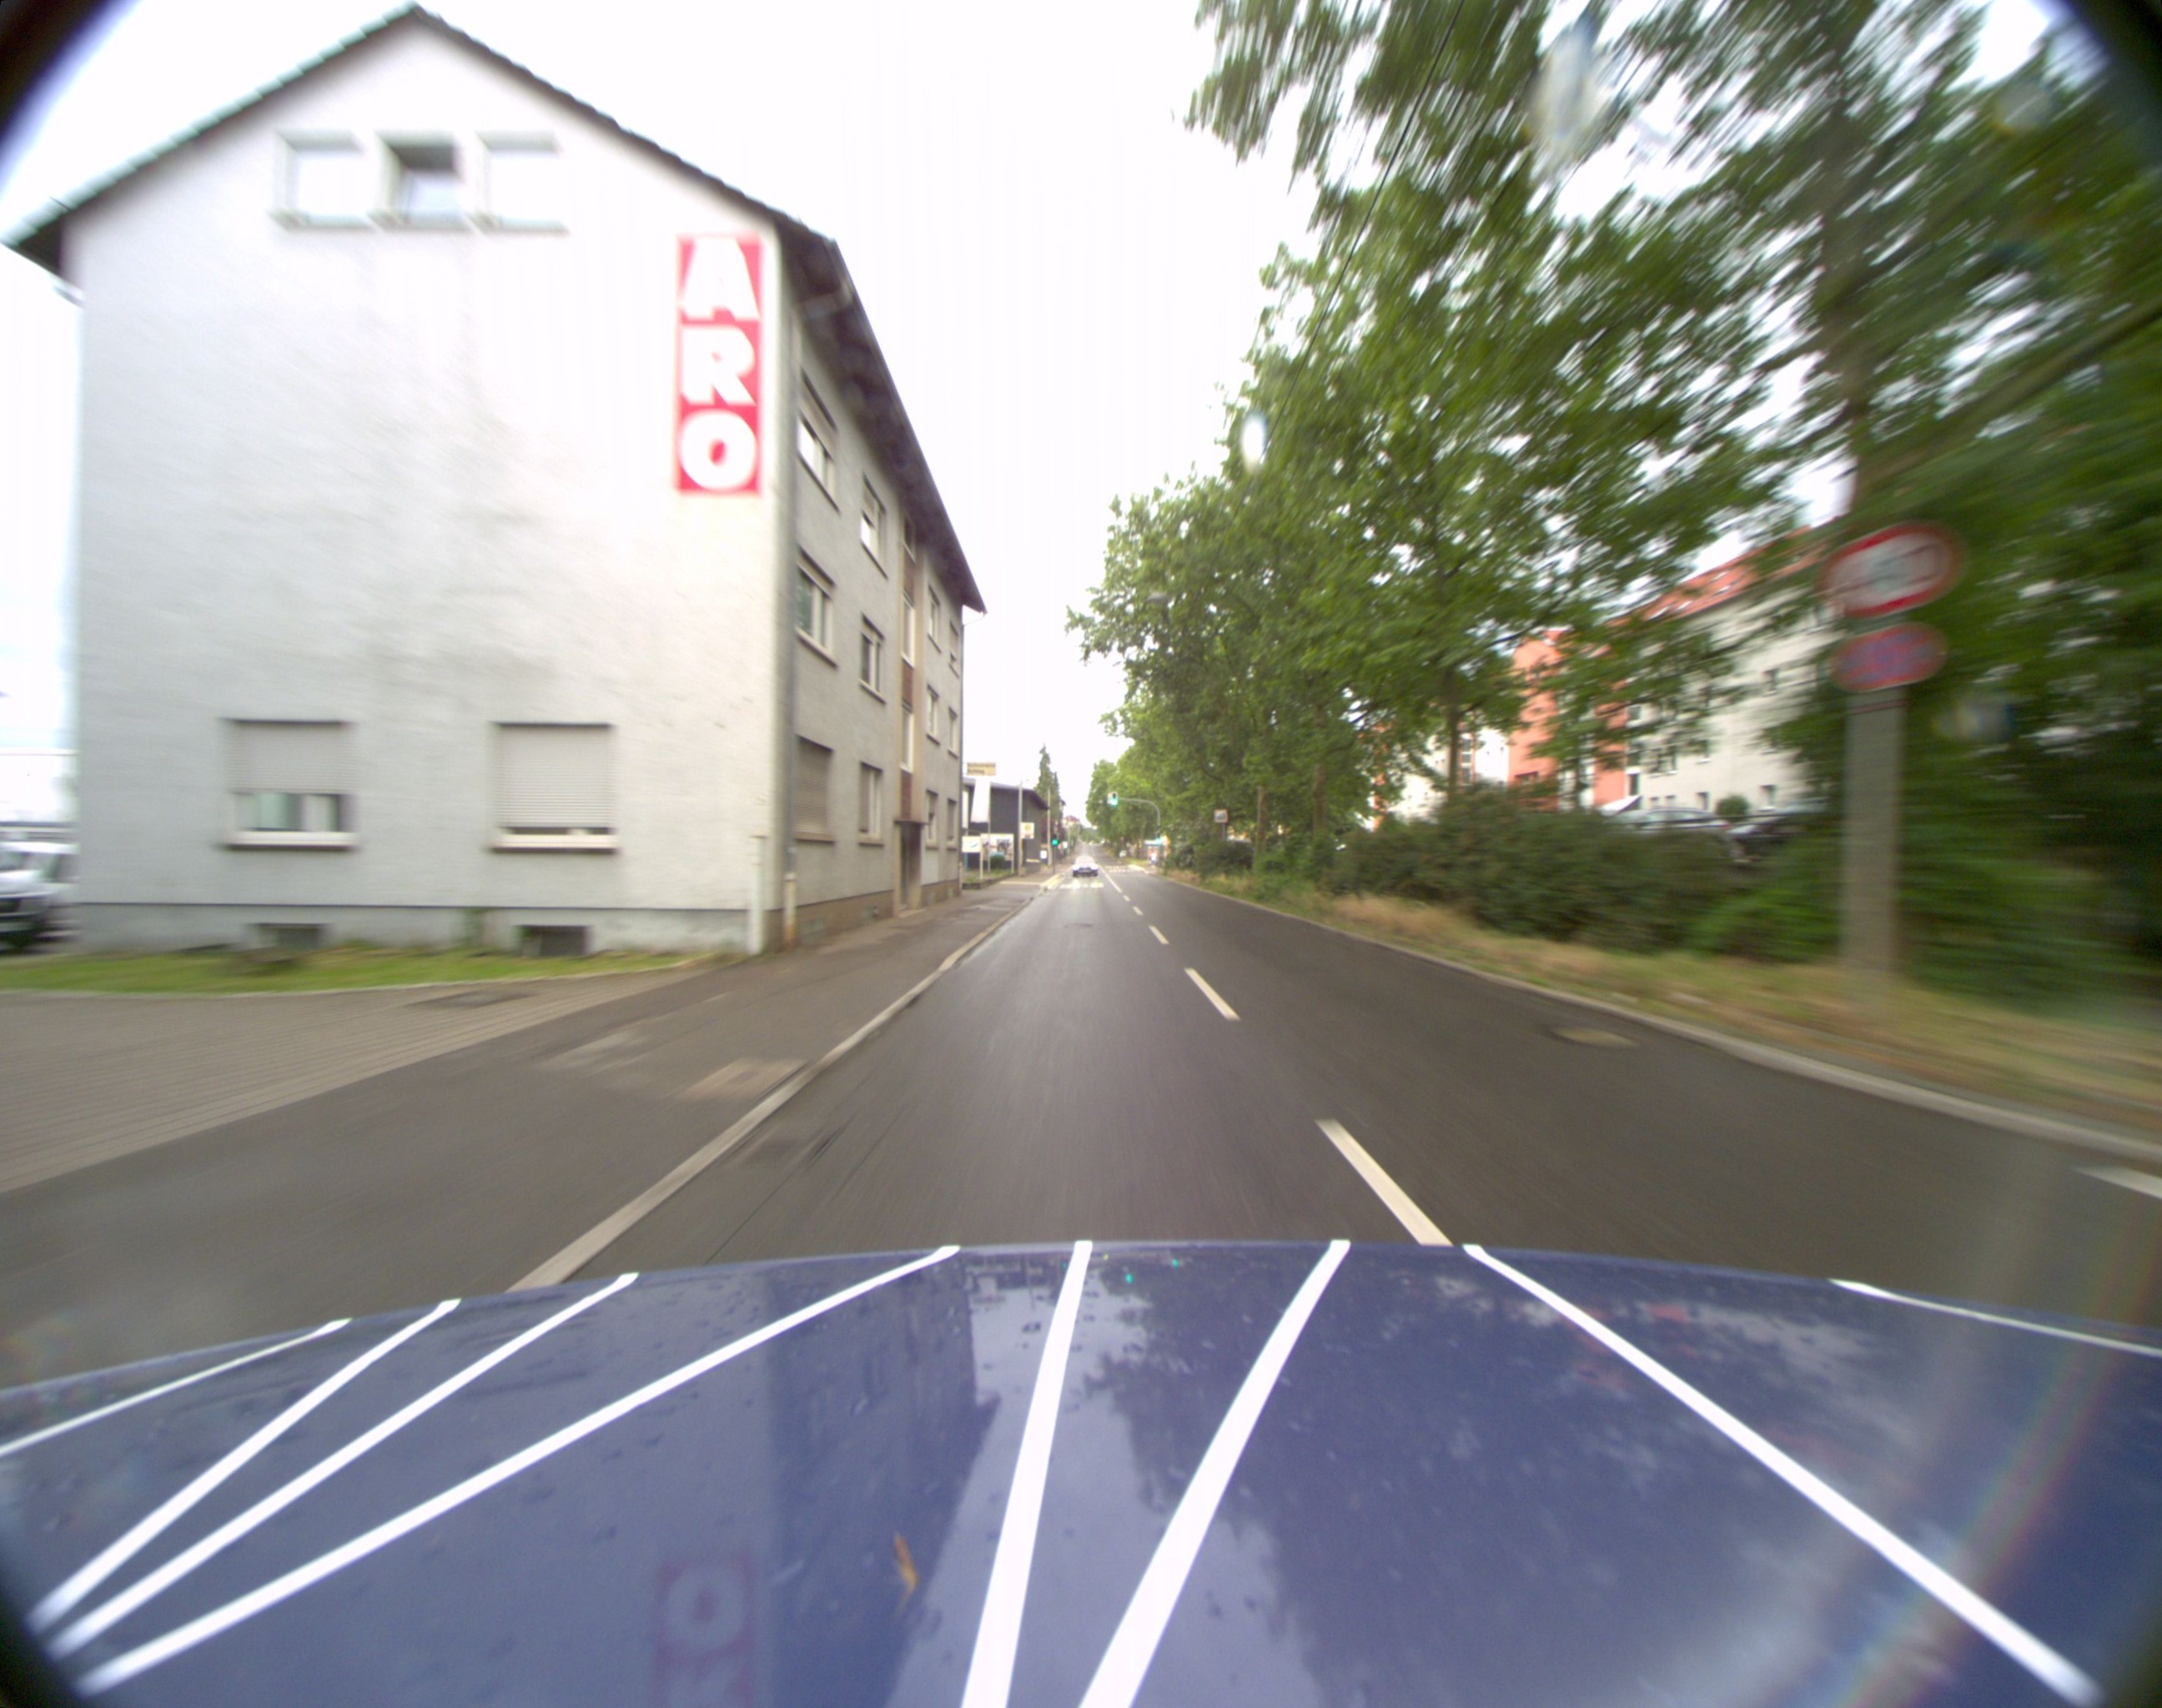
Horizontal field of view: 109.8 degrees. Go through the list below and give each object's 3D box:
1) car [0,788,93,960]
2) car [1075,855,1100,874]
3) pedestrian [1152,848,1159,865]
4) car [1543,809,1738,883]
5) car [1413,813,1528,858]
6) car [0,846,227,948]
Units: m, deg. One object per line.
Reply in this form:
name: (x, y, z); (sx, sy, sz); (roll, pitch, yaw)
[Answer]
car: (-18.829, 0.319, 11.408); (5.275, 2.580, 2.065); (0, 1, 1)
car: (0.437, 0.742, 54.927); (1.692, 1.334, 3.999); (0, 0, -2)
pedestrian: (7.286, 0.228, 74.295); (0.648, 1.674, 0.631); (0, 1, 1)
car: (15.741, -0.223, 21.593); (3.995, 2.002, 1.957); (0, 0, 6)
car: (15.813, -0.751, 30.944); (3.802, 1.679, 1.738); (-2, 1, -2)
car: (-19.323, 0.739, 14.171); (4.421, 1.739, 2.065); (0, 1, 1)
